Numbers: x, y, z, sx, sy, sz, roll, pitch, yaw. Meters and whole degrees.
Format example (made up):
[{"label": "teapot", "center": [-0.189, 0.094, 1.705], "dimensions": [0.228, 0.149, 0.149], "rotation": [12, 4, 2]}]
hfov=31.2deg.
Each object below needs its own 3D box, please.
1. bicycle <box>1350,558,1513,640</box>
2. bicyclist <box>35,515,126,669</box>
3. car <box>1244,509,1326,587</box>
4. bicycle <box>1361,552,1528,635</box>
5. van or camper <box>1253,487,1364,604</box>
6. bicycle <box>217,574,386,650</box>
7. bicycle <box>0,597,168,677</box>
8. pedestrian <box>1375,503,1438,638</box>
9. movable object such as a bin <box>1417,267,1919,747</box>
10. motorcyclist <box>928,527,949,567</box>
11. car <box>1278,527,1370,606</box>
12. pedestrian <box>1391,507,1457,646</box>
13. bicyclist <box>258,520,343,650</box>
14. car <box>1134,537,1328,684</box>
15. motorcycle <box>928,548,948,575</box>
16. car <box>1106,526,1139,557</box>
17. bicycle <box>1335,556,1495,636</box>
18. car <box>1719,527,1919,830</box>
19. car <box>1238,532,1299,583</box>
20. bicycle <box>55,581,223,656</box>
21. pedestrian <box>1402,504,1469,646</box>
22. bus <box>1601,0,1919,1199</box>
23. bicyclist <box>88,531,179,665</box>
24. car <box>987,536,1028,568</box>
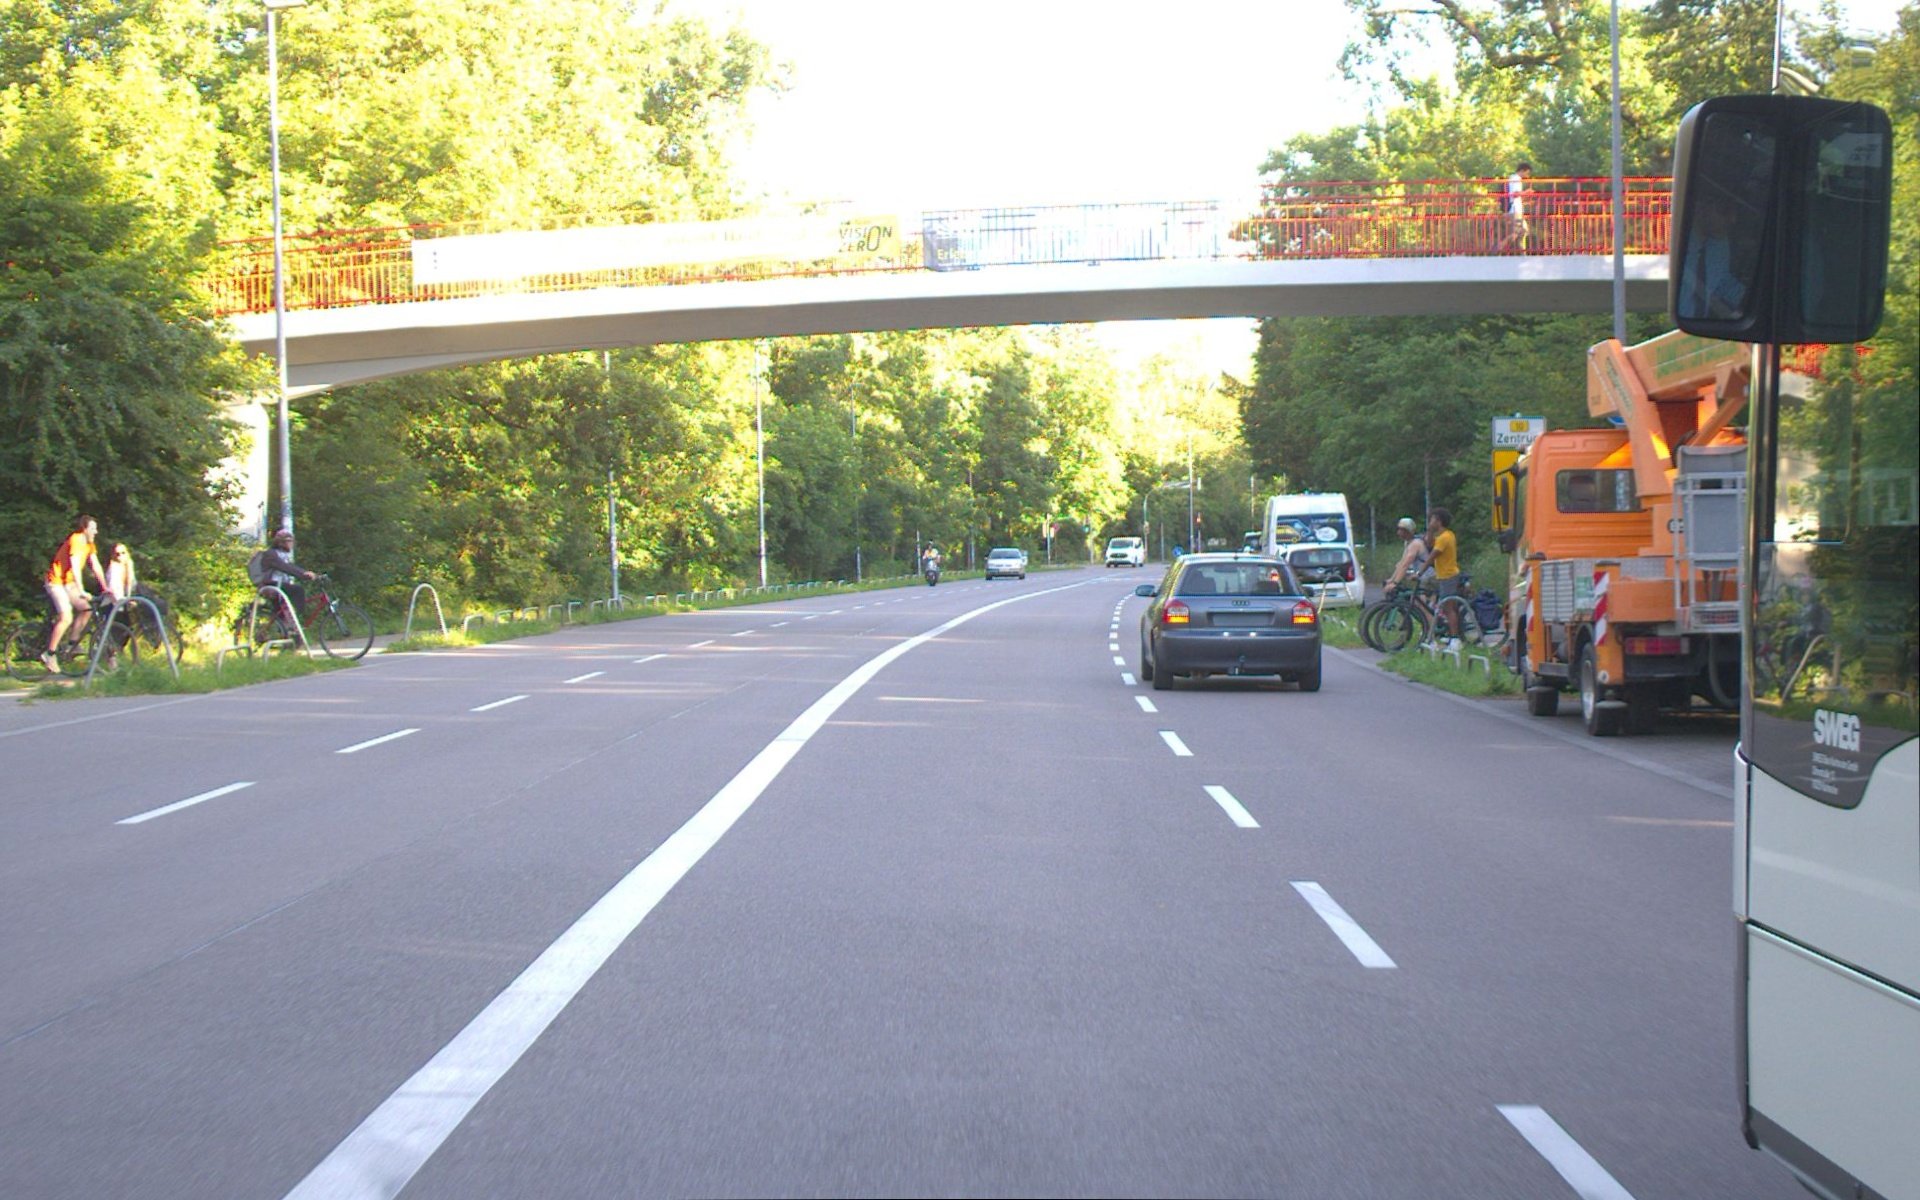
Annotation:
[{"label": "bicycle", "center": [6.365, -0.018, 46.468], "dimensions": [2.061, 1.064, 0.870], "rotation": [-1, 1, -2]}, {"label": "bicyclist", "center": [-10.998, -0.107, 42.998], "dimensions": [0.796, 1.894, 0.817], "rotation": [-1, 1, 11]}, {"label": "car", "center": [8.053, -1.315, 85.503], "dimensions": [1.829, 1.861, 5.073], "rotation": [-1, 1, 4]}, {"label": "bicycle", "center": [6.402, -0.091, 45.508], "dimensions": [2.061, 1.064, 0.870], "rotation": [-1, 1, -2]}, {"label": "van or camper", "center": [7.861, -1.249, 77.970], "dimensions": [2.119, 2.509, 5.980], "rotation": [-1, 1, 2]}, {"label": "bicycle", "center": [-8.343, 0.153, 43.568], "dimensions": [1.927, 0.931, 0.824], "rotation": [0, 1, 11]}, {"label": "bicycle", "center": [-10.994, 0.461, 43.000], "dimensions": [1.927, 0.931, 0.824], "rotation": [-1, 1, 11]}, {"label": "pedestrian", "center": [6.182, -0.413, 47.611], "dimensions": [0.699, 1.846, 0.939], "rotation": [-1, 1, -2]}, {"label": "movable object such as a bin", "center": [5.810, -0.742, 28.074], "dimensions": [2.758, 3.359, 7.601], "rotation": [-1, 1, -3]}, {"label": "motorcyclist", "center": [-0.817, -2.001, 129.793], "dimensions": [0.724, 1.500, 0.672], "rotation": [-1, 1, 3]}, {"label": "car", "center": [7.055, -0.674, 66.787], "dimensions": [1.723, 1.491, 3.774], "rotation": [0, 1, 5]}, {"label": "pedestrian", "center": [6.272, -0.320, 46.498], "dimensions": [0.699, 1.846, 0.939], "rotation": [-1, 1, -2]}, {"label": "bicyclist", "center": [-8.353, -0.196, 43.570], "dimensions": [0.796, 1.638, 0.841], "rotation": [0, 1, 11]}, {"label": "car", "center": [2.775, 0.069, 35.940], "dimensions": [1.727, 1.436, 4.090], "rotation": [0, 1, 0]}, {"label": "motorcycle", "center": [-0.821, -1.456, 129.874], "dimensions": [0.636, 0.992, 2.077], "rotation": [0, 1, 3]}, {"label": "car", "center": [10.960, -3.950, 231.435], "dimensions": [1.994, 1.985, 4.997], "rotation": [1, 0, 4]}, {"label": "bicycle", "center": [6.290, -0.065, 47.604], "dimensions": [2.061, 1.064, 0.870], "rotation": [-1, 1, -2]}, {"label": "car", "center": [5.748, 0.366, 19.841], "dimensions": [1.727, 1.569, 4.090], "rotation": [0, 1, -2]}, {"label": "car", "center": [9.288, -1.294, 103.300], "dimensions": [1.728, 1.436, 4.100], "rotation": [-3, 1, 5]}, {"label": "bicycle", "center": [-10.559, 0.238, 44.233], "dimensions": [1.927, 0.931, 0.824], "rotation": [-1, 1, 11]}, {"label": "pedestrian", "center": [6.291, -0.338, 45.515], "dimensions": [0.699, 1.846, 0.939], "rotation": [-1, 1, -2]}, {"label": "bus", "center": [2.870, -0.016, 1.549], "dimensions": [2.704, 3.211, 12.280], "rotation": [0, 1, -1]}, {"label": "bicyclist", "center": [-10.629, -0.030, 44.231], "dimensions": [0.796, 1.691, 0.945], "rotation": [-1, 1, 11]}, {"label": "car", "center": [2.152, -2.176, 156.207], "dimensions": [1.681, 1.402, 3.889], "rotation": [-1, 1, 3]}]
